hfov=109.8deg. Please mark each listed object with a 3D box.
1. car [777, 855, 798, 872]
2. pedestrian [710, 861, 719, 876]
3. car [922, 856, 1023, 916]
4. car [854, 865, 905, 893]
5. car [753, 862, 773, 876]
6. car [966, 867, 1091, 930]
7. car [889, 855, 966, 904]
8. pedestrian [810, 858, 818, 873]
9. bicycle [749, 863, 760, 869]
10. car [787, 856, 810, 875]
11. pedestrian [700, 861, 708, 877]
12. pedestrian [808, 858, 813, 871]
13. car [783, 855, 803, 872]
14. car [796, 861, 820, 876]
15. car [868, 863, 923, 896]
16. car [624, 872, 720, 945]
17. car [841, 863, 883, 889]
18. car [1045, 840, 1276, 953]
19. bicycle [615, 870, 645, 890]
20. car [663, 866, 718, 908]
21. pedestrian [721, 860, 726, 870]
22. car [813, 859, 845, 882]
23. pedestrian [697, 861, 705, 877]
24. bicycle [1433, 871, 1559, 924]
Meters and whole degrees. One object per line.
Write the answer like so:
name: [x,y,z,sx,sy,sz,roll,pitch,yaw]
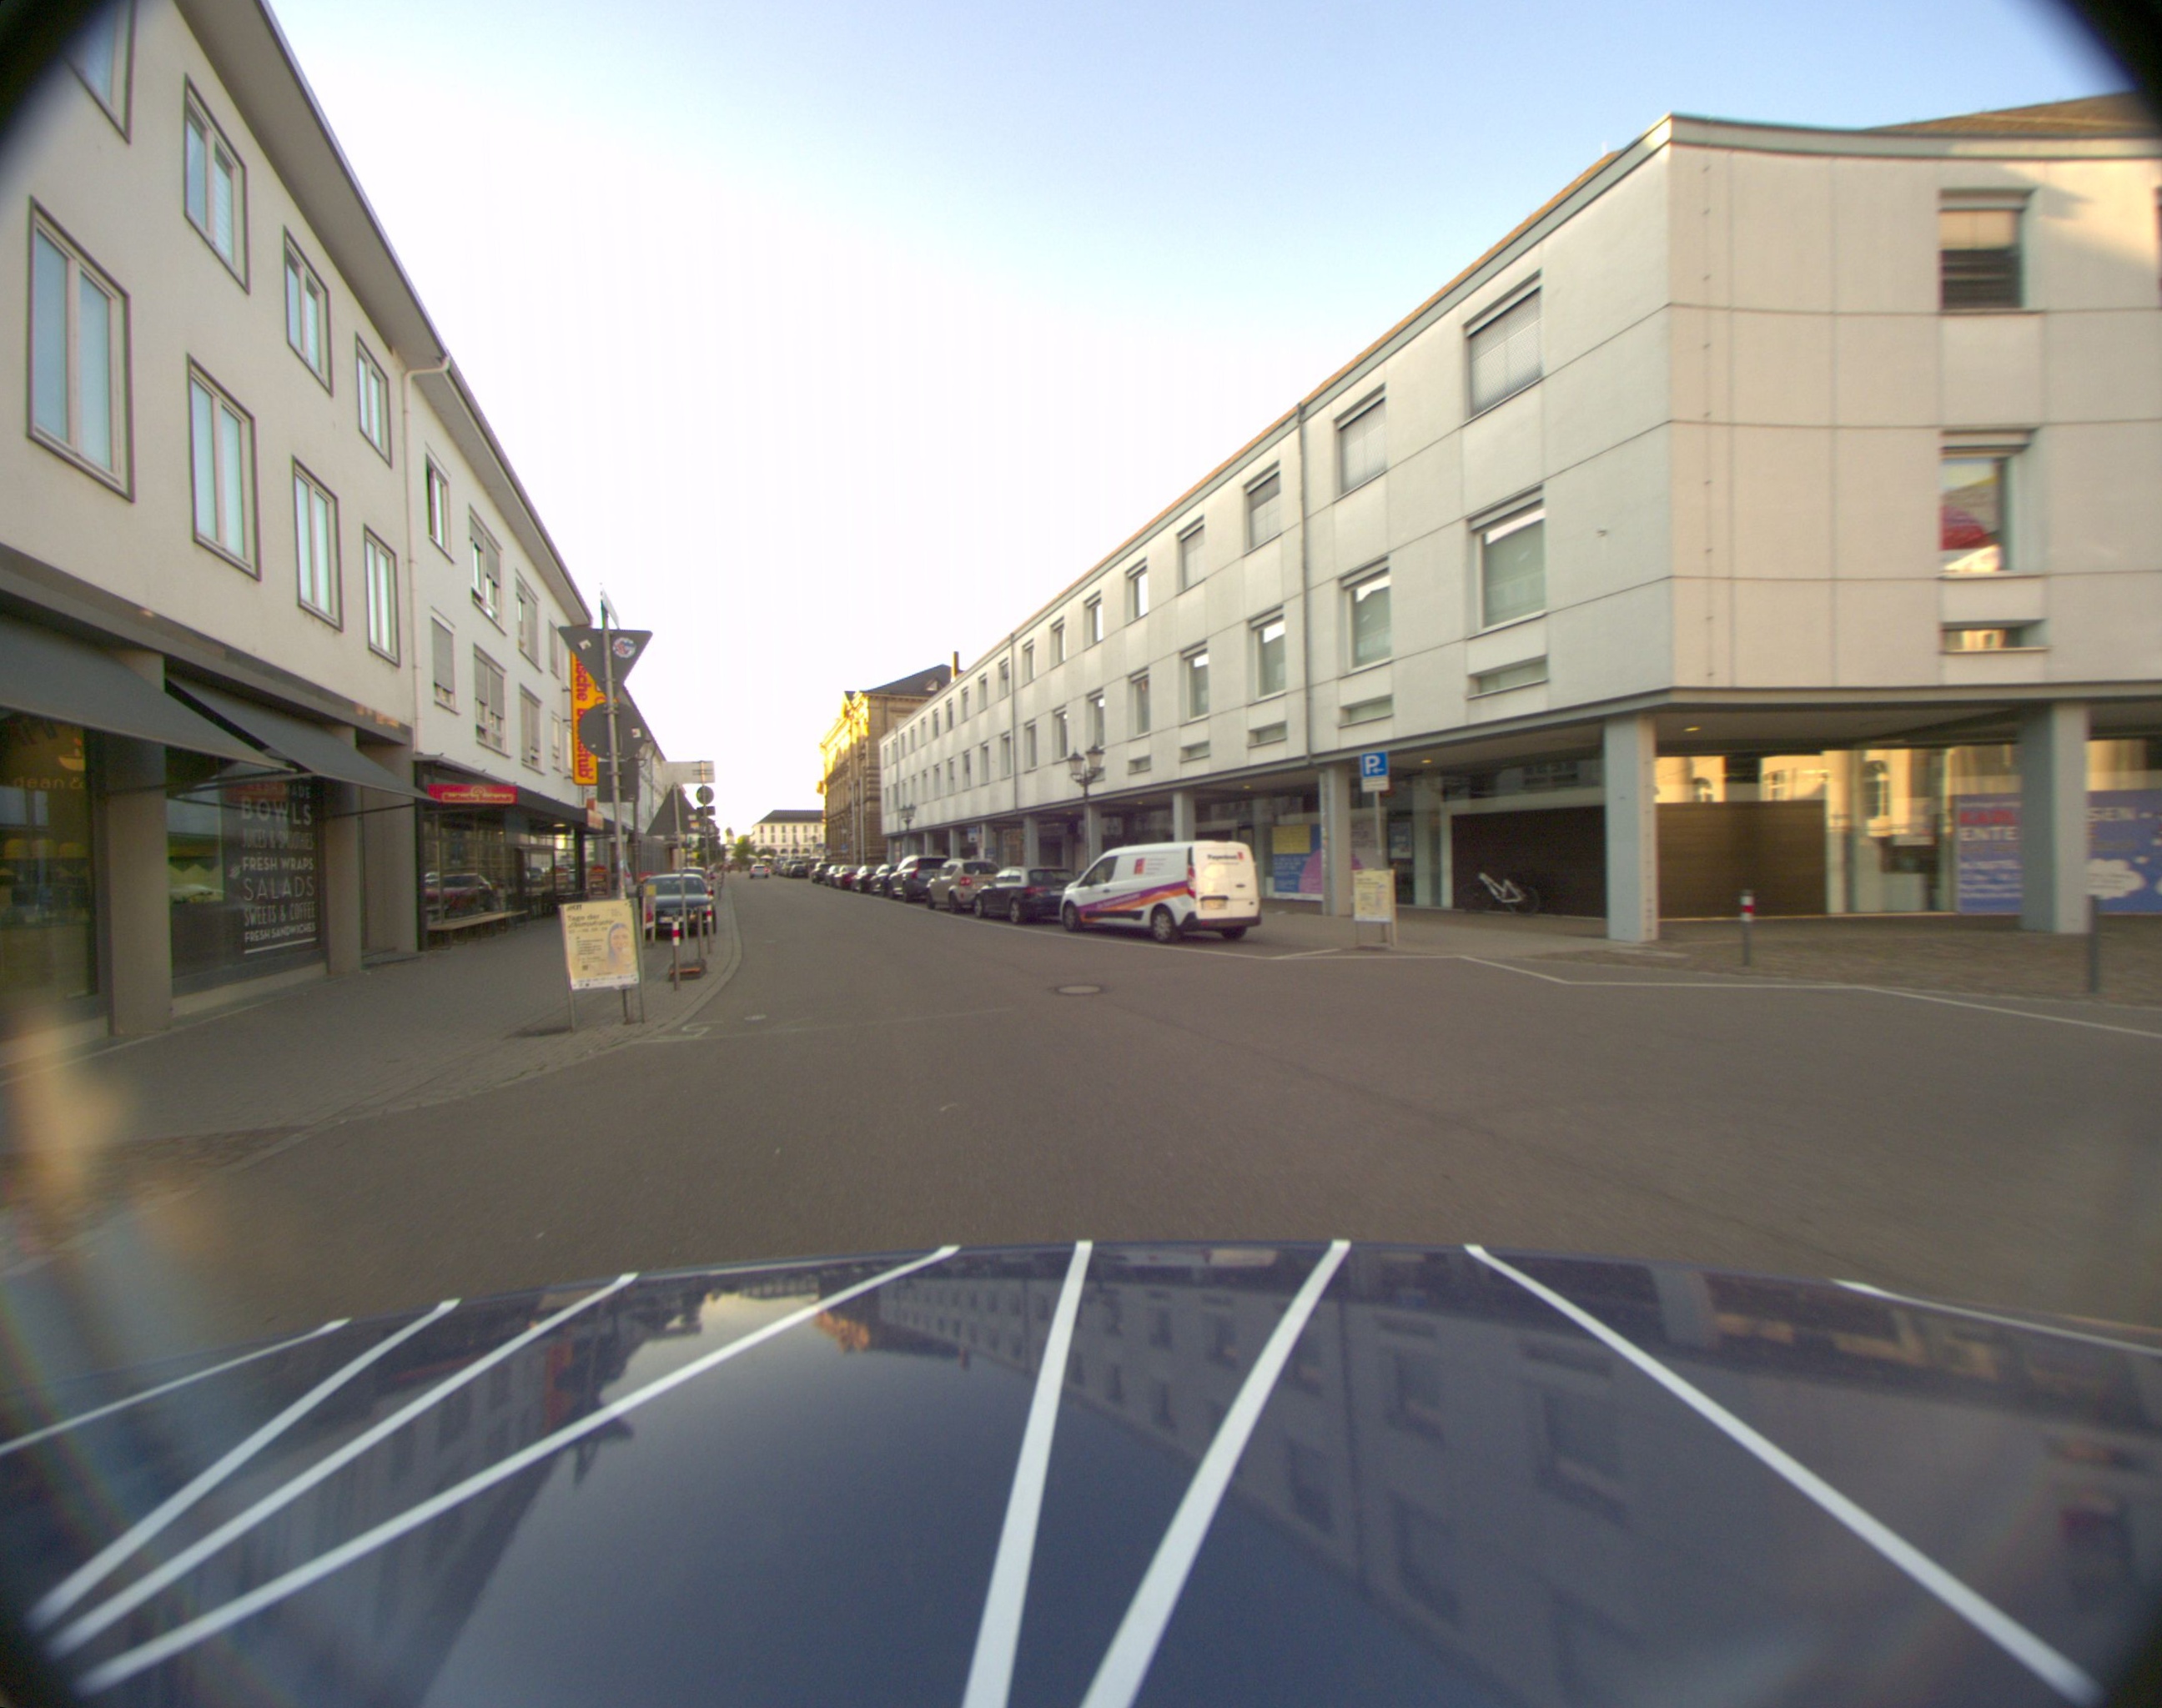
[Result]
car: [-39.296,1.231,101.792,2.003,2.158,5.196,-2,0,-27]
pedestrian: [-41.745,1.647,86.582,0.751,1.720,0.880,-2,1,-19]
car: [-3.466,0.917,23.692,2.003,1.652,3.991,-1,0,-26]
car: [-10.631,1.273,39.890,2.003,1.346,3.992,0,0,-24]
car: [-34.423,1.579,82.284,1.772,1.413,3.992,0,0,-26]
car: [-1.455,1.049,19.417,1.685,1.345,4.096,-2,0,-27]
car: [-6.047,0.923,29.485,2.002,1.718,4.507,0,0,-24]
pedestrian: [-32.226,1.386,91.727,0.716,1.720,0.895,-5,2,-23]
bicycle: [-59.726,2.176,139.096,1.685,1.115,0.845,-2,1,10]
car: [-31.509,1.246,84.753,2.002,2.065,4.979,-1,1,-25]
pedestrian: [-41.914,1.648,84.512,0.623,1.779,0.912,-2,1,-21]
pedestrian: [-36.805,1.411,103.380,0.610,1.720,0.701,-2,1,-23]
car: [-36.339,1.207,95.703,2.002,2.075,5.196,-1,0,-24]
car: [-28.361,1.484,78.969,2.002,1.486,4.156,-1,0,-24]
car: [-8.508,1.120,34.638,1.681,1.392,3.992,-1,0,-25]
car: [-9.799,1.206,18.310,1.810,1.455,4.108,-1,0,-27]
car: [-12.868,1.245,44.502,1.793,1.400,4.080,-1,0,-24]
car: [1.347,0.716,14.994,2.003,1.805,4.772,-2,0,-32]
bicycle: [-29.877,1.736,50.375,1.664,1.245,0.438,-2,1,-27]
car: [-15.899,1.306,31.092,1.767,1.514,3.670,-2,0,-24]
pedestrian: [-59.909,1.870,127.299,0.685,1.557,0.651,-2,1,-27]
car: [-18.690,1.164,56.237,1.793,1.605,4.157,-1,0,-24]
pedestrian: [-42.754,1.663,85.495,0.716,1.720,0.871,-2,1,-22]
bicycle: [8.715,0.888,16.092,0.736,0.978,2.330,-2,1,-26]
